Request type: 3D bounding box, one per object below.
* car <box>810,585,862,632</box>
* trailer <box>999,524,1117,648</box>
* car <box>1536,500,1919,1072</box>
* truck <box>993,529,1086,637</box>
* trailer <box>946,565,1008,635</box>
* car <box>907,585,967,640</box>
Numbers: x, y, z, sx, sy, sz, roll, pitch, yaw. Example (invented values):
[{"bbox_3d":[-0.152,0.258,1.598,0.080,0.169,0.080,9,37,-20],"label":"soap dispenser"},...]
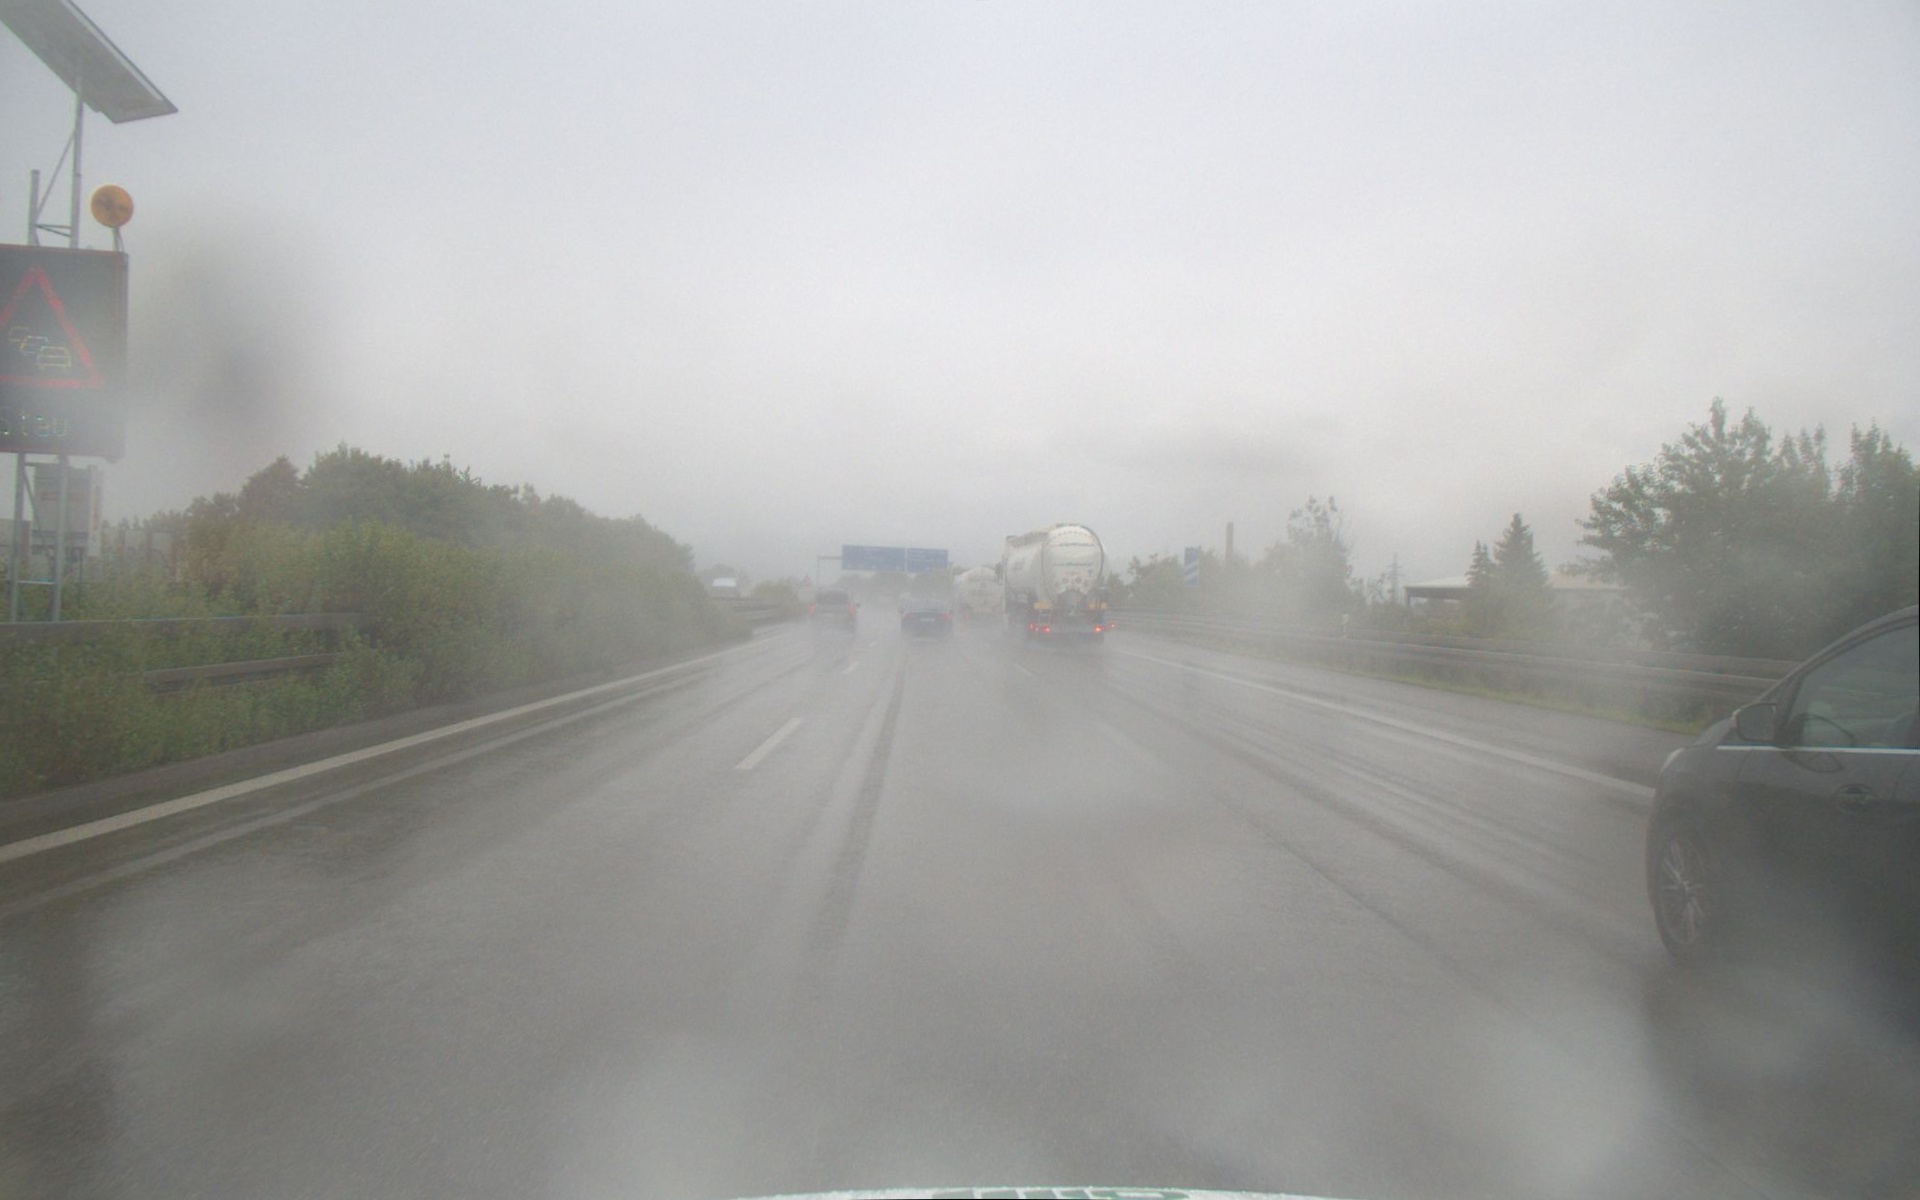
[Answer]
[{"bbox_3d":[-4.956,0.325,66.366,1.886,1.771,4.402,1,0,-2],"label":"car"},{"bbox_3d":[3.125,-0.461,56.405,3.123,3.734,11.664,1,0,-1],"label":"trailer"},{"bbox_3d":[4.188,0.592,5.595,2.407,1.776,5.718,1,0,-1],"label":"car"},{"bbox_3d":[2.956,-0.620,63.593,3.041,3.873,7.210,1,0,-1],"label":"truck"},{"bbox_3d":[0.919,-0.020,98.249,2.945,3.915,8.617,1,0,-4],"label":"trailer"},{"bbox_3d":[-0.738,0.390,56.503,1.938,1.787,4.481,1,0,0],"label":"car"}]
